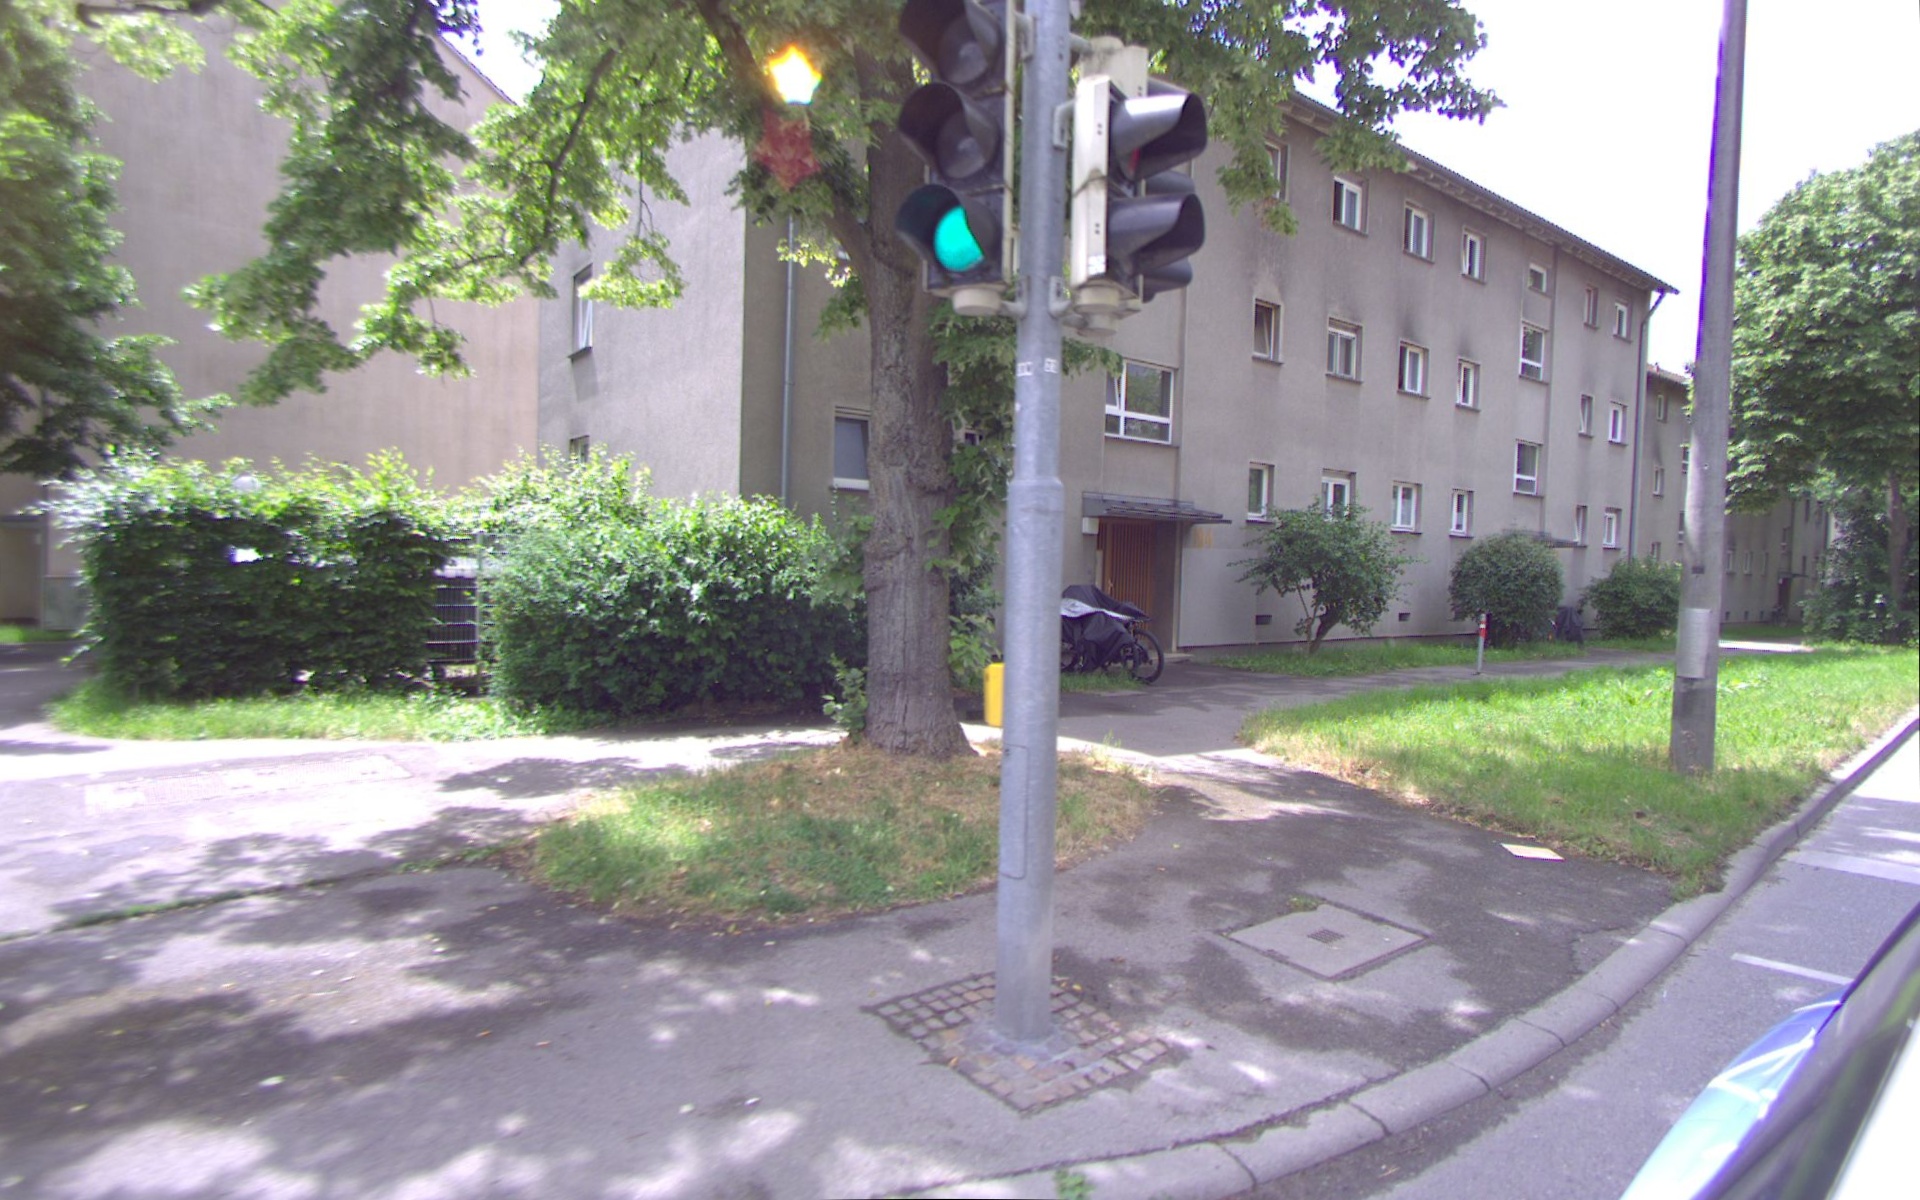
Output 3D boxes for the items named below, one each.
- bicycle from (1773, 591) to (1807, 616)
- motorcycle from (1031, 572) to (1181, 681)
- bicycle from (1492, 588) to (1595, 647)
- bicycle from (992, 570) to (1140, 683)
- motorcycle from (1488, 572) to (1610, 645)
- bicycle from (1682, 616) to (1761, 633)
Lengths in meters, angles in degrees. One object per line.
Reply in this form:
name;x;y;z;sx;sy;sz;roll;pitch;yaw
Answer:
bicycle;37.580;0.141;45.826;0.430;1.094;1.748;0;1;12
motorcycle;1.910;0.301;13.623;0.667;1.298;2.213;0;3;-33
bicycle;12.133;0.346;21.091;0.446;1.098;1.803;1;2;-37
bicycle;1.330;0.289;13.230;0.667;1.298;2.176;0;3;-33
motorcycle;12.704;0.151;21.890;0.997;1.447;2.006;1;2;-31
bicycle;27.630;0.879;36.746;0.660;0.514;2.214;-1;1;-31
